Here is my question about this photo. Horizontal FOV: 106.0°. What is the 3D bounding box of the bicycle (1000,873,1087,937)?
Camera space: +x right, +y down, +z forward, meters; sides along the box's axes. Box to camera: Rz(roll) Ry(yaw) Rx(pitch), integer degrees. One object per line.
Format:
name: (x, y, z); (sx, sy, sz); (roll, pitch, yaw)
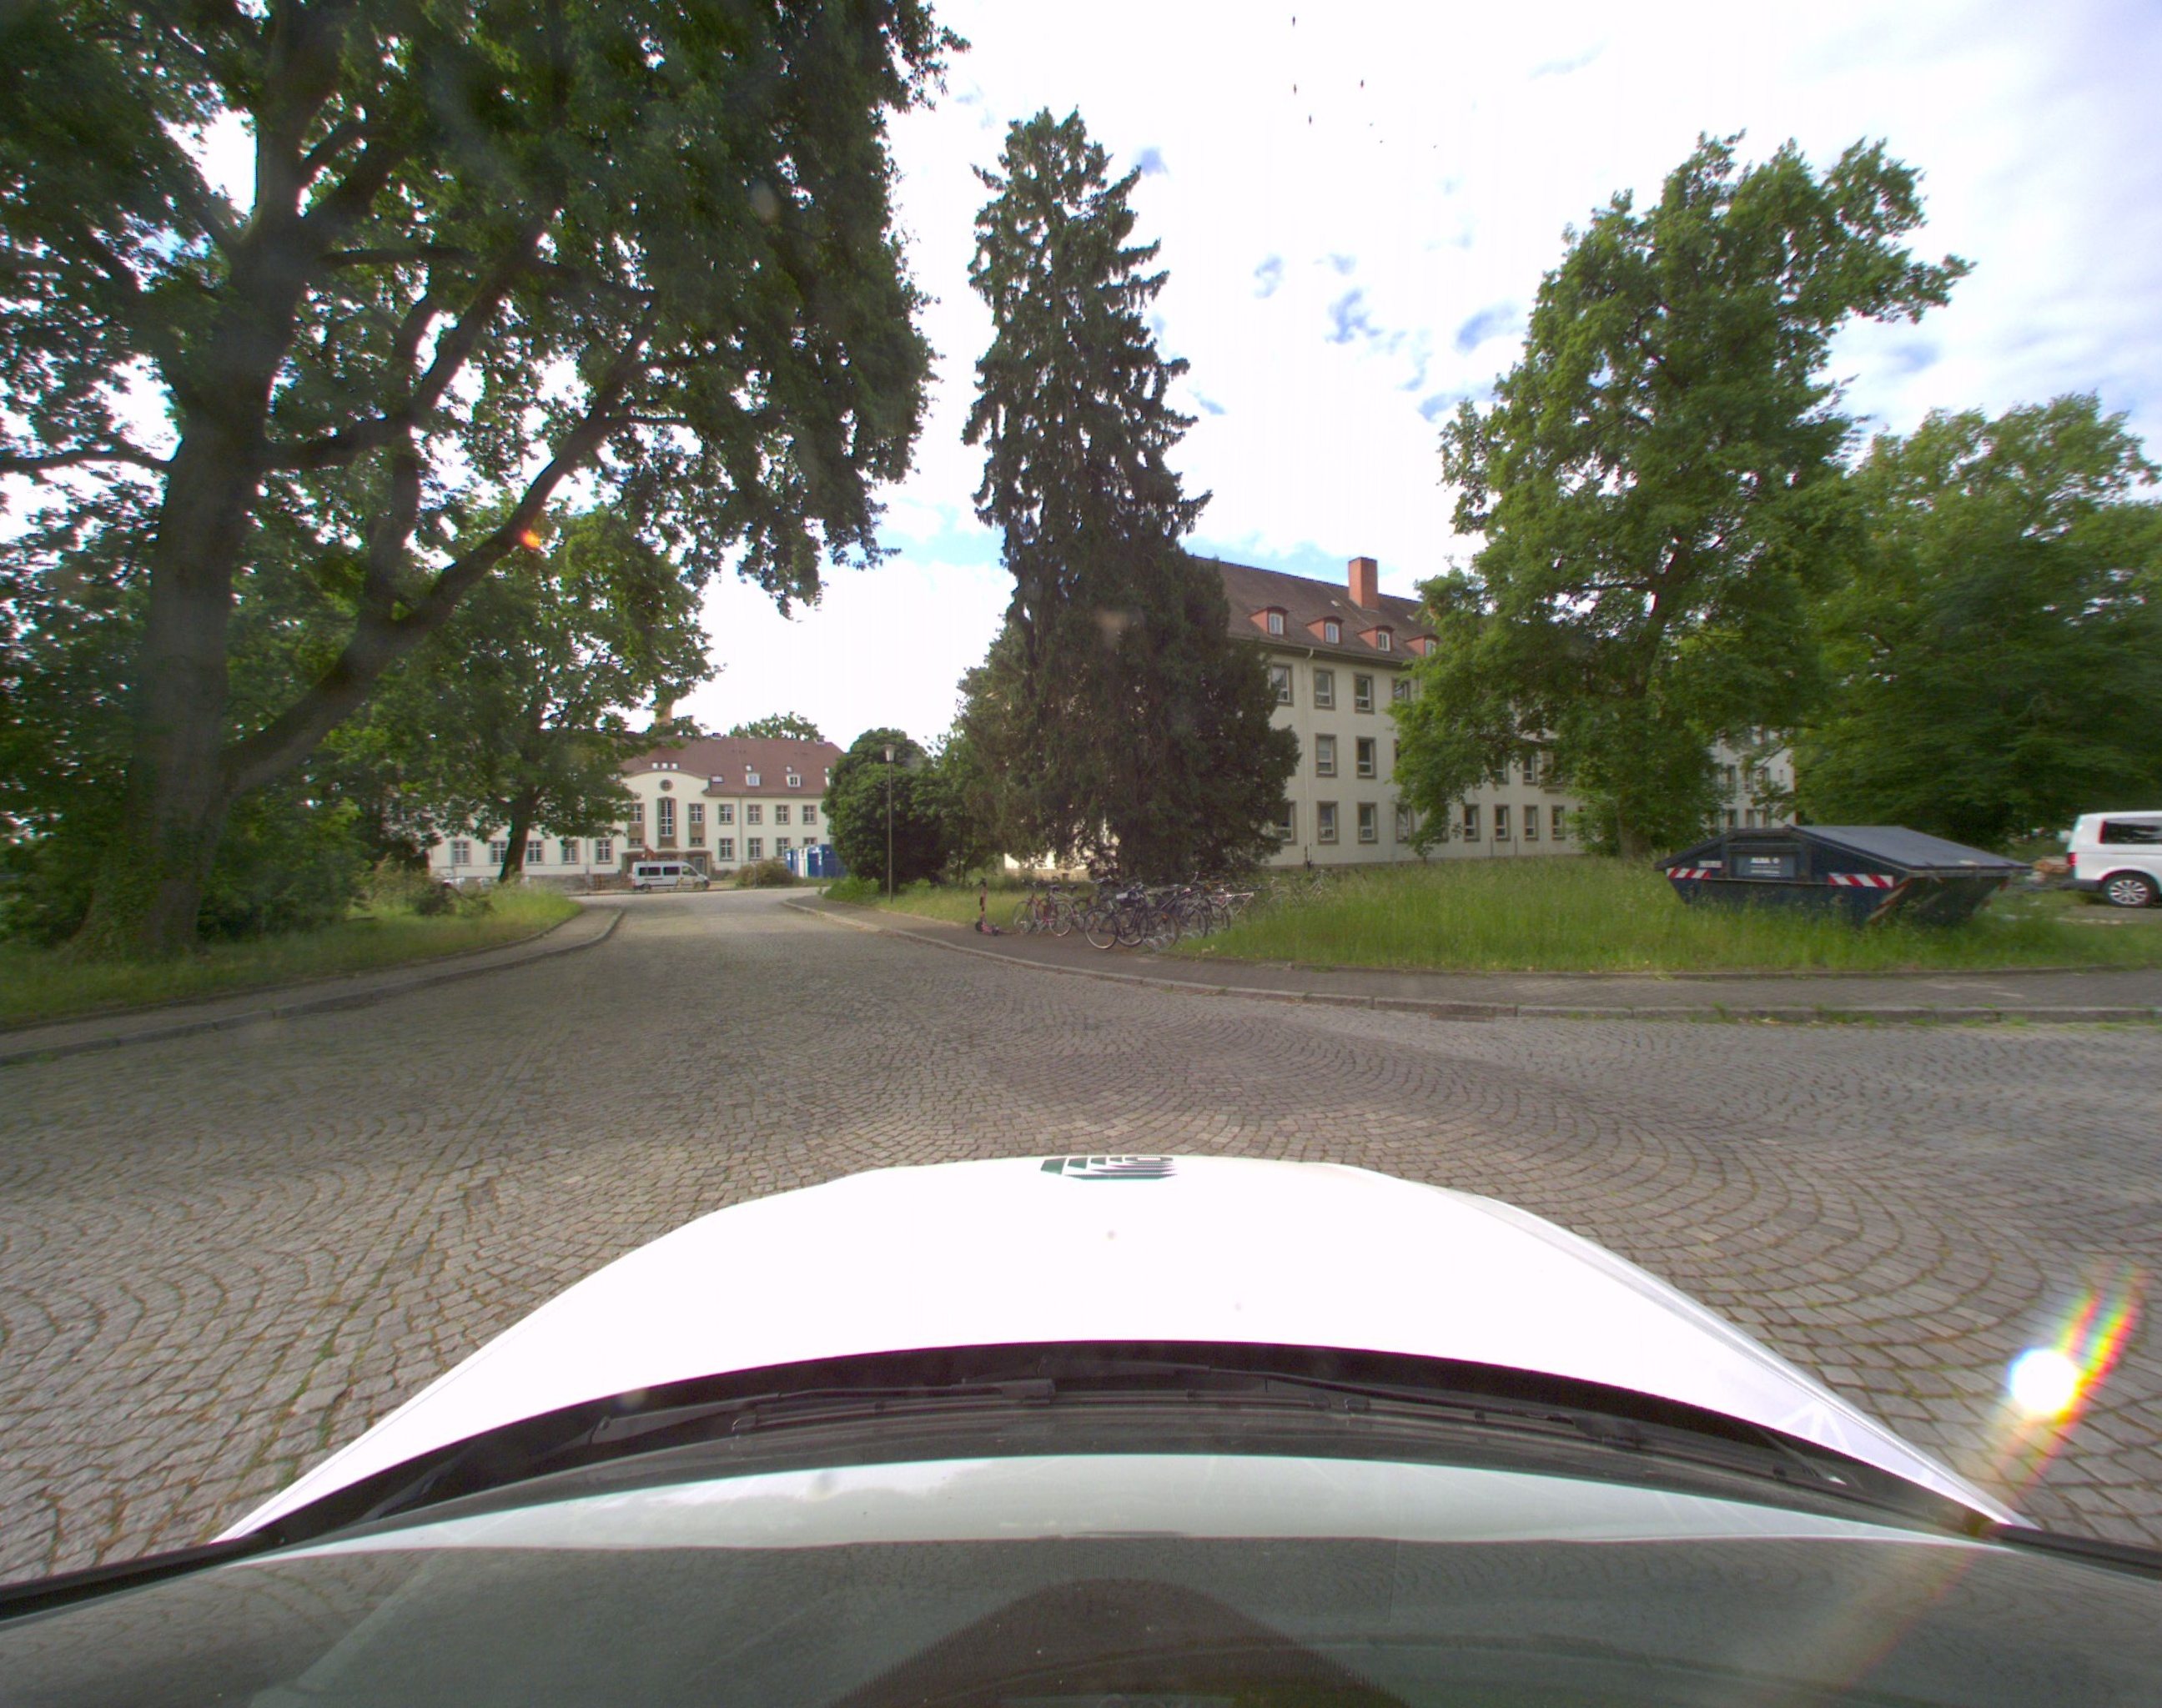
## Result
bicycle: (-0.810, 1.038, 17.110); (1.877, 1.222, 0.648); (-1, 2, 43)

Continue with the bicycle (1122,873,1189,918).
bicycle: (1.804, 1.003, 19.748); (1.497, 1.035, 0.549); (-2, 1, 32)

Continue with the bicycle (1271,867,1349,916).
bicycle: (5.238, 0.864, 18.721); (1.601, 1.059, 0.530); (-3, 0, 43)

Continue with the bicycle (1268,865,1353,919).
bicycle: (5.086, 0.848, 18.107); (1.680, 1.116, 0.545); (-3, 0, 43)

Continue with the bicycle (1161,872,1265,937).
bicycle: (2.462, 0.940, 15.297); (1.776, 1.103, 0.707); (-3, 0, 43)

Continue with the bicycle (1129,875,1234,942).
bicycle: (1.812, 0.988, 14.888); (1.751, 1.103, 0.707); (-3, 0, 43)

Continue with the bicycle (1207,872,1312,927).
bicycle: (3.565, 0.918, 16.402); (1.935, 1.005, 0.691); (-3, 0, 43)

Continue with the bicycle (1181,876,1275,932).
bicycle: (2.860, 0.970, 15.930); (1.675, 1.001, 0.636); (-3, 0, 43)

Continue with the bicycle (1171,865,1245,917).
bicycle: (3.076, 0.895, 19.786); (1.623, 1.185, 0.578); (-2, 1, 36)

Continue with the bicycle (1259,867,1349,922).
bicycle: (4.810, 0.886, 17.622); (1.754, 1.105, 0.545); (-3, 0, 43)

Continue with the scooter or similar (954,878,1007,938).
scooter or similar: (-2.196, 1.140, 17.645); (0.683, 1.195, 1.540); (-2, 0, -25)

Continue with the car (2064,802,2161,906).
car: (22.991, -0.005, 15.508); (2.194, 2.060, 5.169); (0, 1, -29)

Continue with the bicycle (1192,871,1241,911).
bicycle: (3.592, 0.981, 21.661); (1.247, 1.029, 0.436); (-3, -4, 43)

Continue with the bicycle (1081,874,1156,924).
bicycle: (0.840, 1.017, 18.630); (1.609, 1.073, 0.543); (-2, 1, 32)

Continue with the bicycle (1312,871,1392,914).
bicycle: (6.161, 0.874, 18.581); (1.601, 0.911, 0.530); (-3, 0, 43)

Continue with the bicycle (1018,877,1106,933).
bicycle: (-0.434, 1.083, 17.693); (1.966, 1.114, 0.648); (-1, 2, 43)

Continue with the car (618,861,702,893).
car: (-31.794, 1.672, 61.586); (5.546, 2.207, 2.107); (0, 2, -29)
